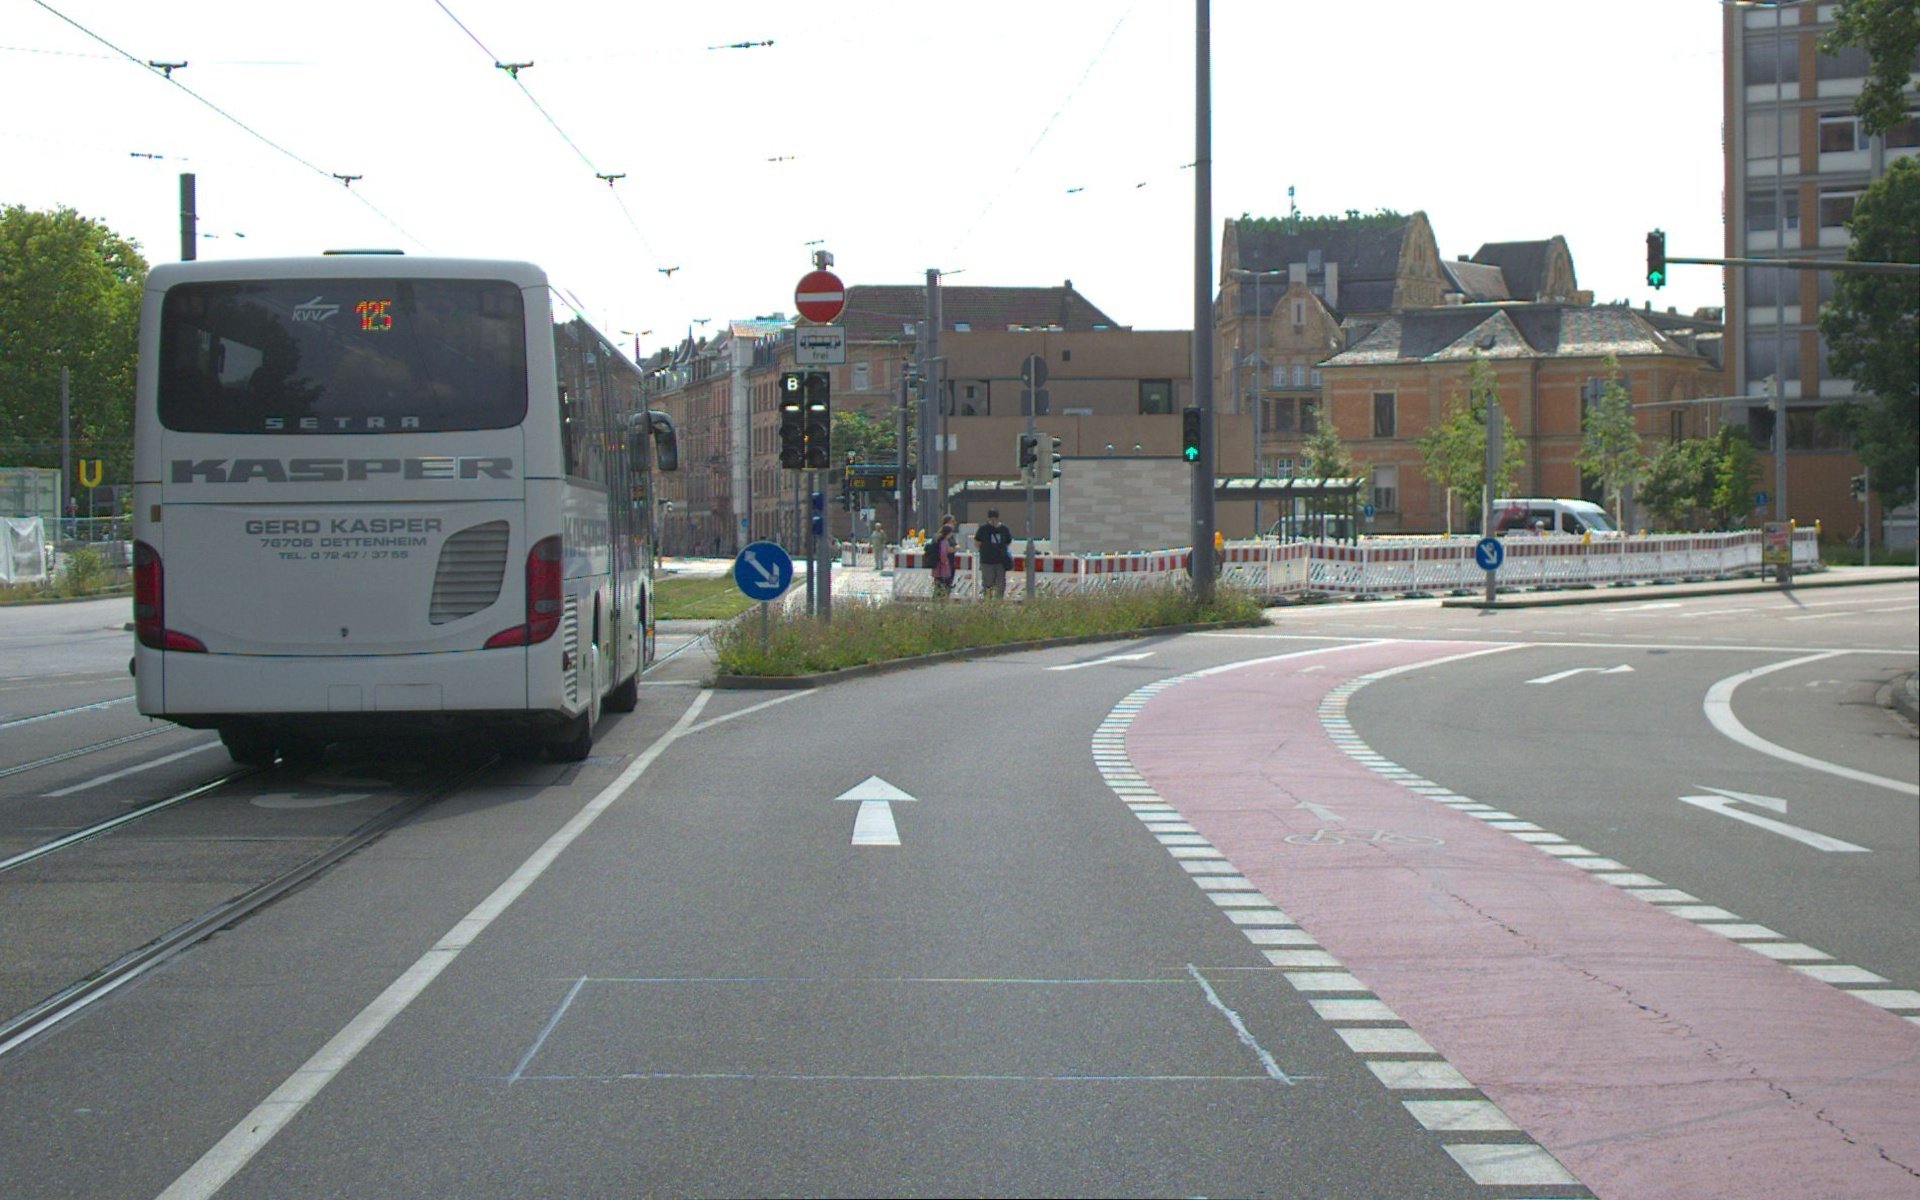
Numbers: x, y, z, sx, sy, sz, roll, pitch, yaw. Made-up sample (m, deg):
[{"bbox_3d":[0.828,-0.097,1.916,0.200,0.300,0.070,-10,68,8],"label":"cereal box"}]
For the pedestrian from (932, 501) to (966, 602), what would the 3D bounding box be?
[{"bbox_3d":[-0.191,-0.843,59.197,0.409,1.730,0.621,0,1,18],"label":"pedestrian"}]

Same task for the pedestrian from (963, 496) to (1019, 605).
[{"bbox_3d":[0.543,-0.861,59.856,0.791,1.878,0.613,-1,1,-20],"label":"pedestrian"}]

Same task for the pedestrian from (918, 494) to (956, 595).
[{"bbox_3d":[-0.393,-0.943,58.381,0.611,1.701,0.623,0,1,2],"label":"pedestrian"}]

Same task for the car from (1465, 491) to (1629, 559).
[{"bbox_3d":[20.565,-2.624,120.638,2.295,2.311,5.587,-1,1,-37],"label":"car"}]

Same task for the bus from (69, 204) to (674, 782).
[{"bbox_3d":[-3.924,-0.727,26.065,2.917,3.316,12.208,1,1,-2],"label":"bus"}]
